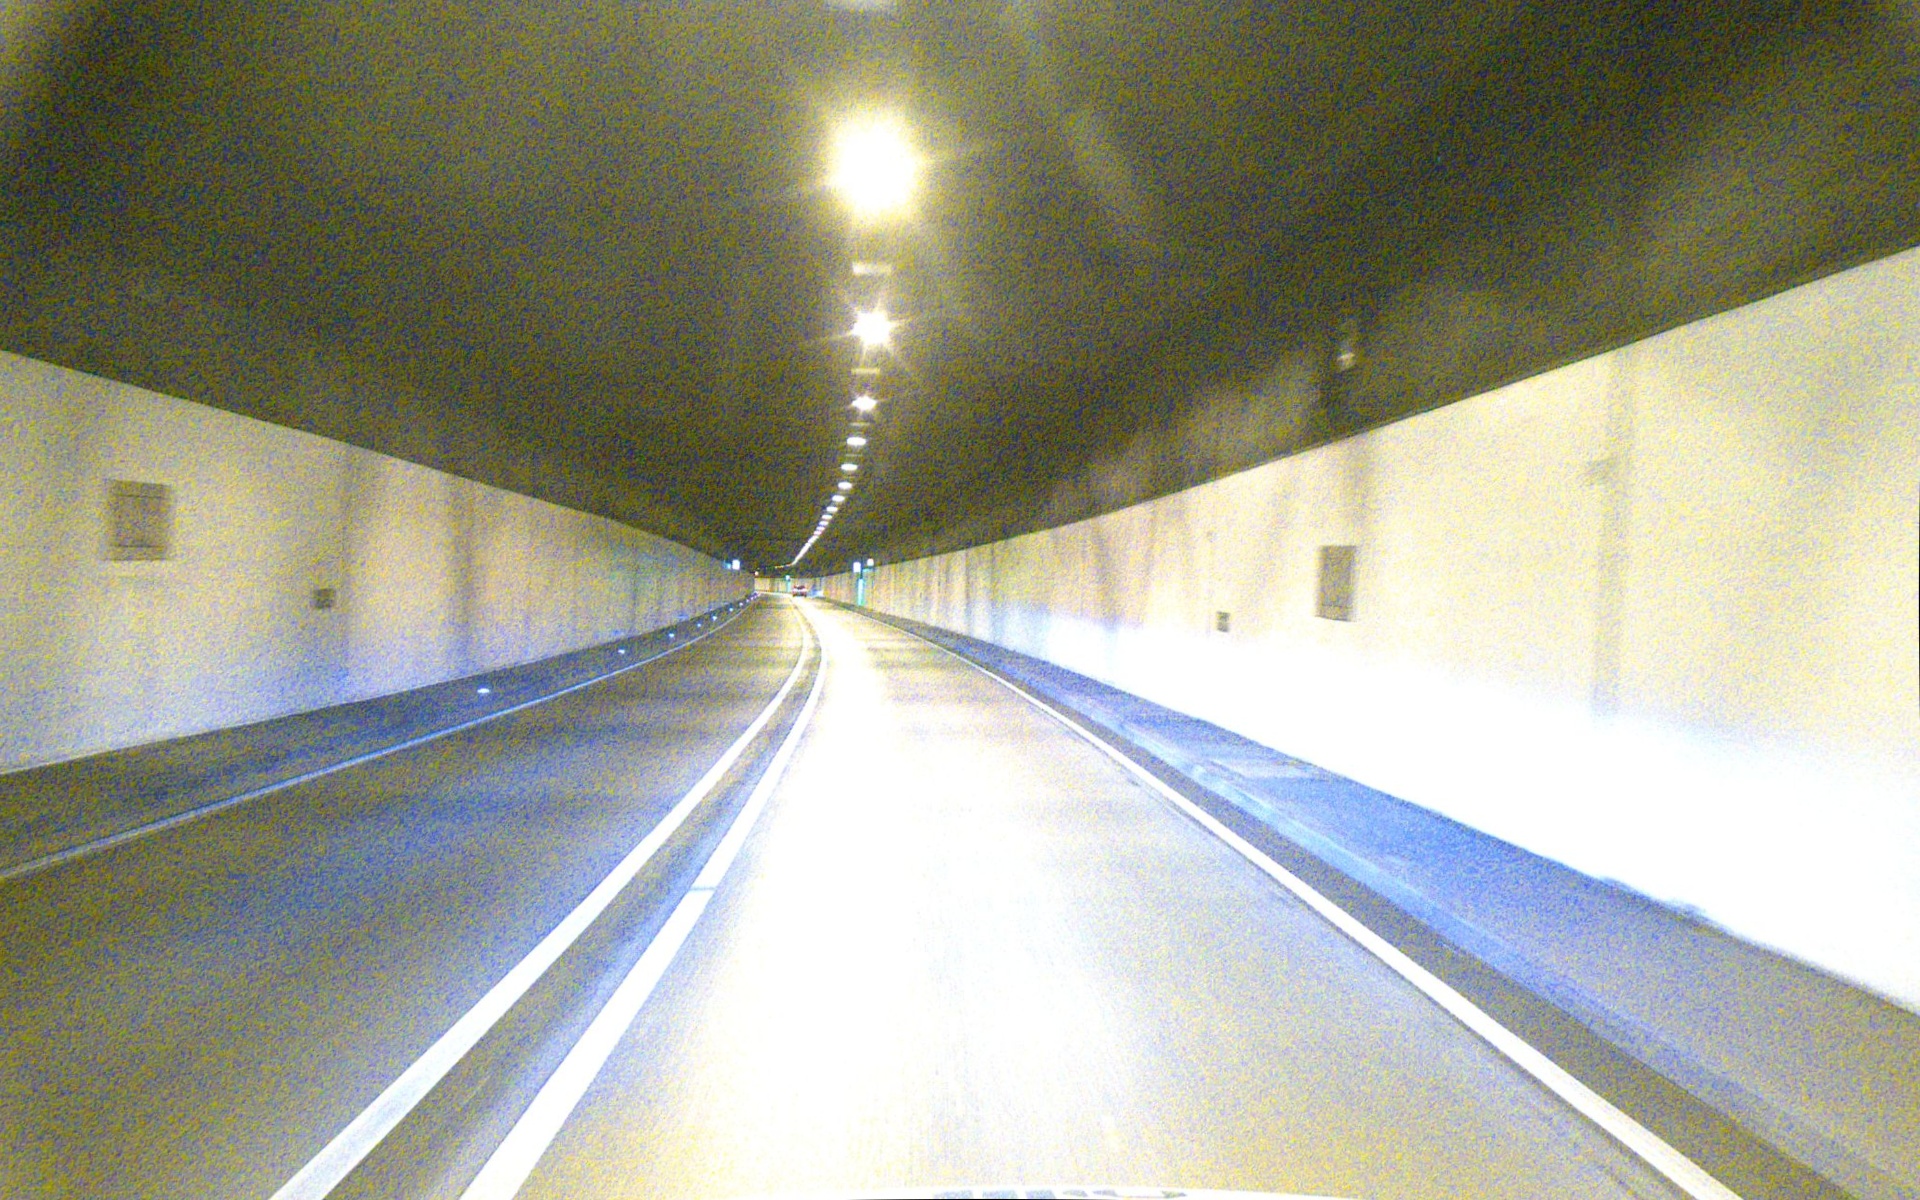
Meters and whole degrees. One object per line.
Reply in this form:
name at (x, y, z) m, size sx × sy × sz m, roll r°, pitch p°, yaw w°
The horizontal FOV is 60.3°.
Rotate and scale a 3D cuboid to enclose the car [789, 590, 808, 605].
car at (-21.196, -0.321, 217.258) m, size 1.932 × 1.973 × 4.599 m, roll 1°, pitch -1°, yaw -12°
